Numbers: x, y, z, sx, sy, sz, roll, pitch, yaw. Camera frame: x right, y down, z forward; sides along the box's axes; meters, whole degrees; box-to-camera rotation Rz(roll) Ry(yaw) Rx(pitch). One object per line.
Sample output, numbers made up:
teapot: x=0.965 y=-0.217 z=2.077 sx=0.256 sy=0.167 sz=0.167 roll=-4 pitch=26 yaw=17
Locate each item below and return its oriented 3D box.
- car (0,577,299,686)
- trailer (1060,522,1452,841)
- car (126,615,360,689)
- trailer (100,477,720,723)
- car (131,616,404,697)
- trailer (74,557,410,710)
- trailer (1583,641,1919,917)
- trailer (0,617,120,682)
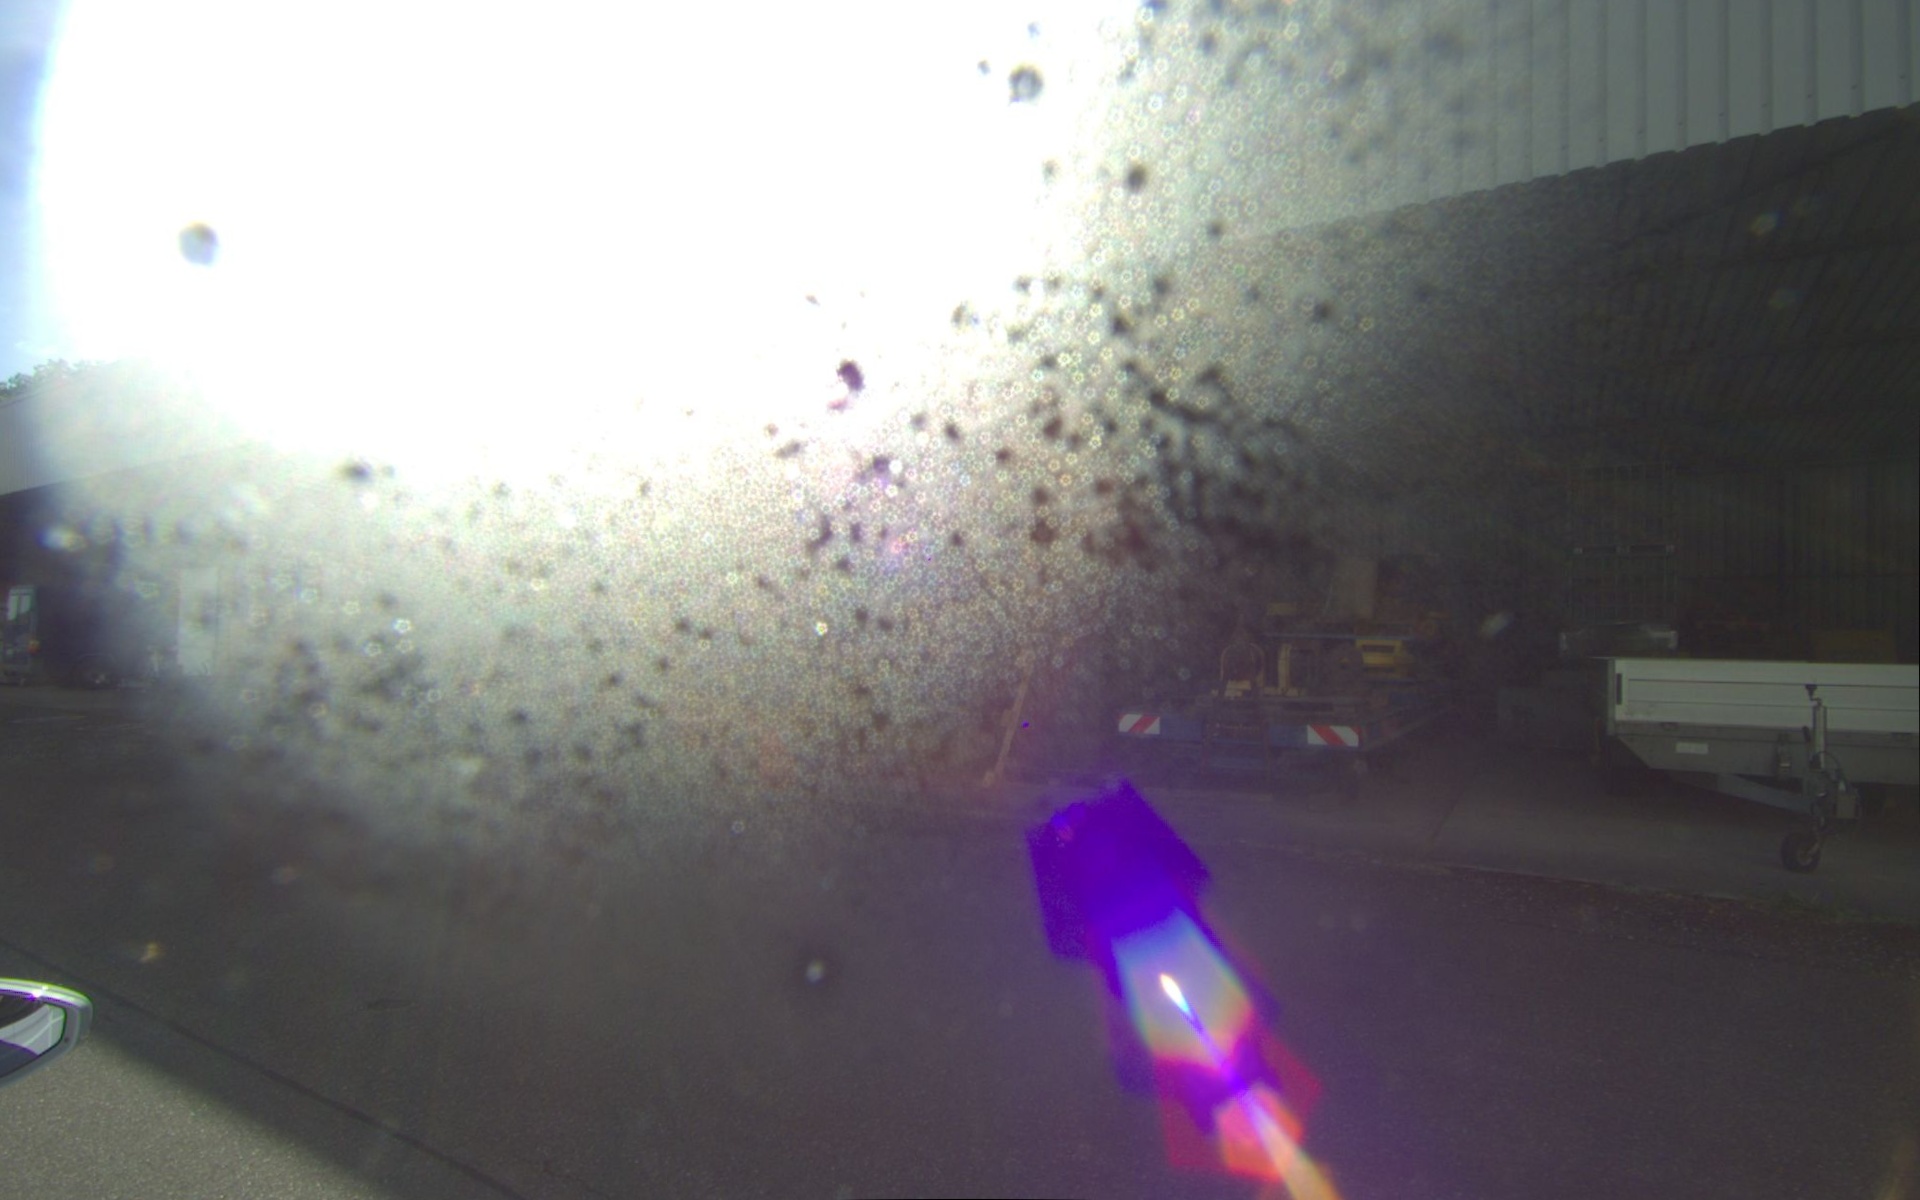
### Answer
car: x=-19.213 y=0.763 z=23.952 sx=2.121 sy=2.310 sz=5.325 roll=-1 pitch=-2 yaw=31
trailer: x=2.849 y=0.566 z=8.793 sx=2.133 sy=2.016 sz=4.413 roll=-1 pitch=-1 yaw=33
car: x=-16.228 y=1.145 z=22.875 sx=1.812 sy=1.533 sz=3.961 roll=-1 pitch=-2 yaw=29
trailer: x=-9.264 y=0.080 z=18.890 sx=2.761 sy=3.386 sz=10.249 roll=0 pitch=-1 yaw=32
car: x=-14.055 y=1.102 z=20.602 sx=1.841 sy=1.490 sz=4.245 roll=0 pitch=-2 yaw=29
trailer: x=-12.690 y=0.573 z=18.007 sx=2.018 sy=2.372 sz=4.507 roll=-1 pitch=-1 yaw=33
trailer: x=5.848 y=0.964 z=7.390 sx=1.945 sy=1.200 sz=5.720 roll=-1 pitch=-1 yaw=30
trailer: x=-21.982 y=1.166 z=24.362 sx=1.715 sy=1.485 sz=2.032 roll=-1 pitch=-1 yaw=36
